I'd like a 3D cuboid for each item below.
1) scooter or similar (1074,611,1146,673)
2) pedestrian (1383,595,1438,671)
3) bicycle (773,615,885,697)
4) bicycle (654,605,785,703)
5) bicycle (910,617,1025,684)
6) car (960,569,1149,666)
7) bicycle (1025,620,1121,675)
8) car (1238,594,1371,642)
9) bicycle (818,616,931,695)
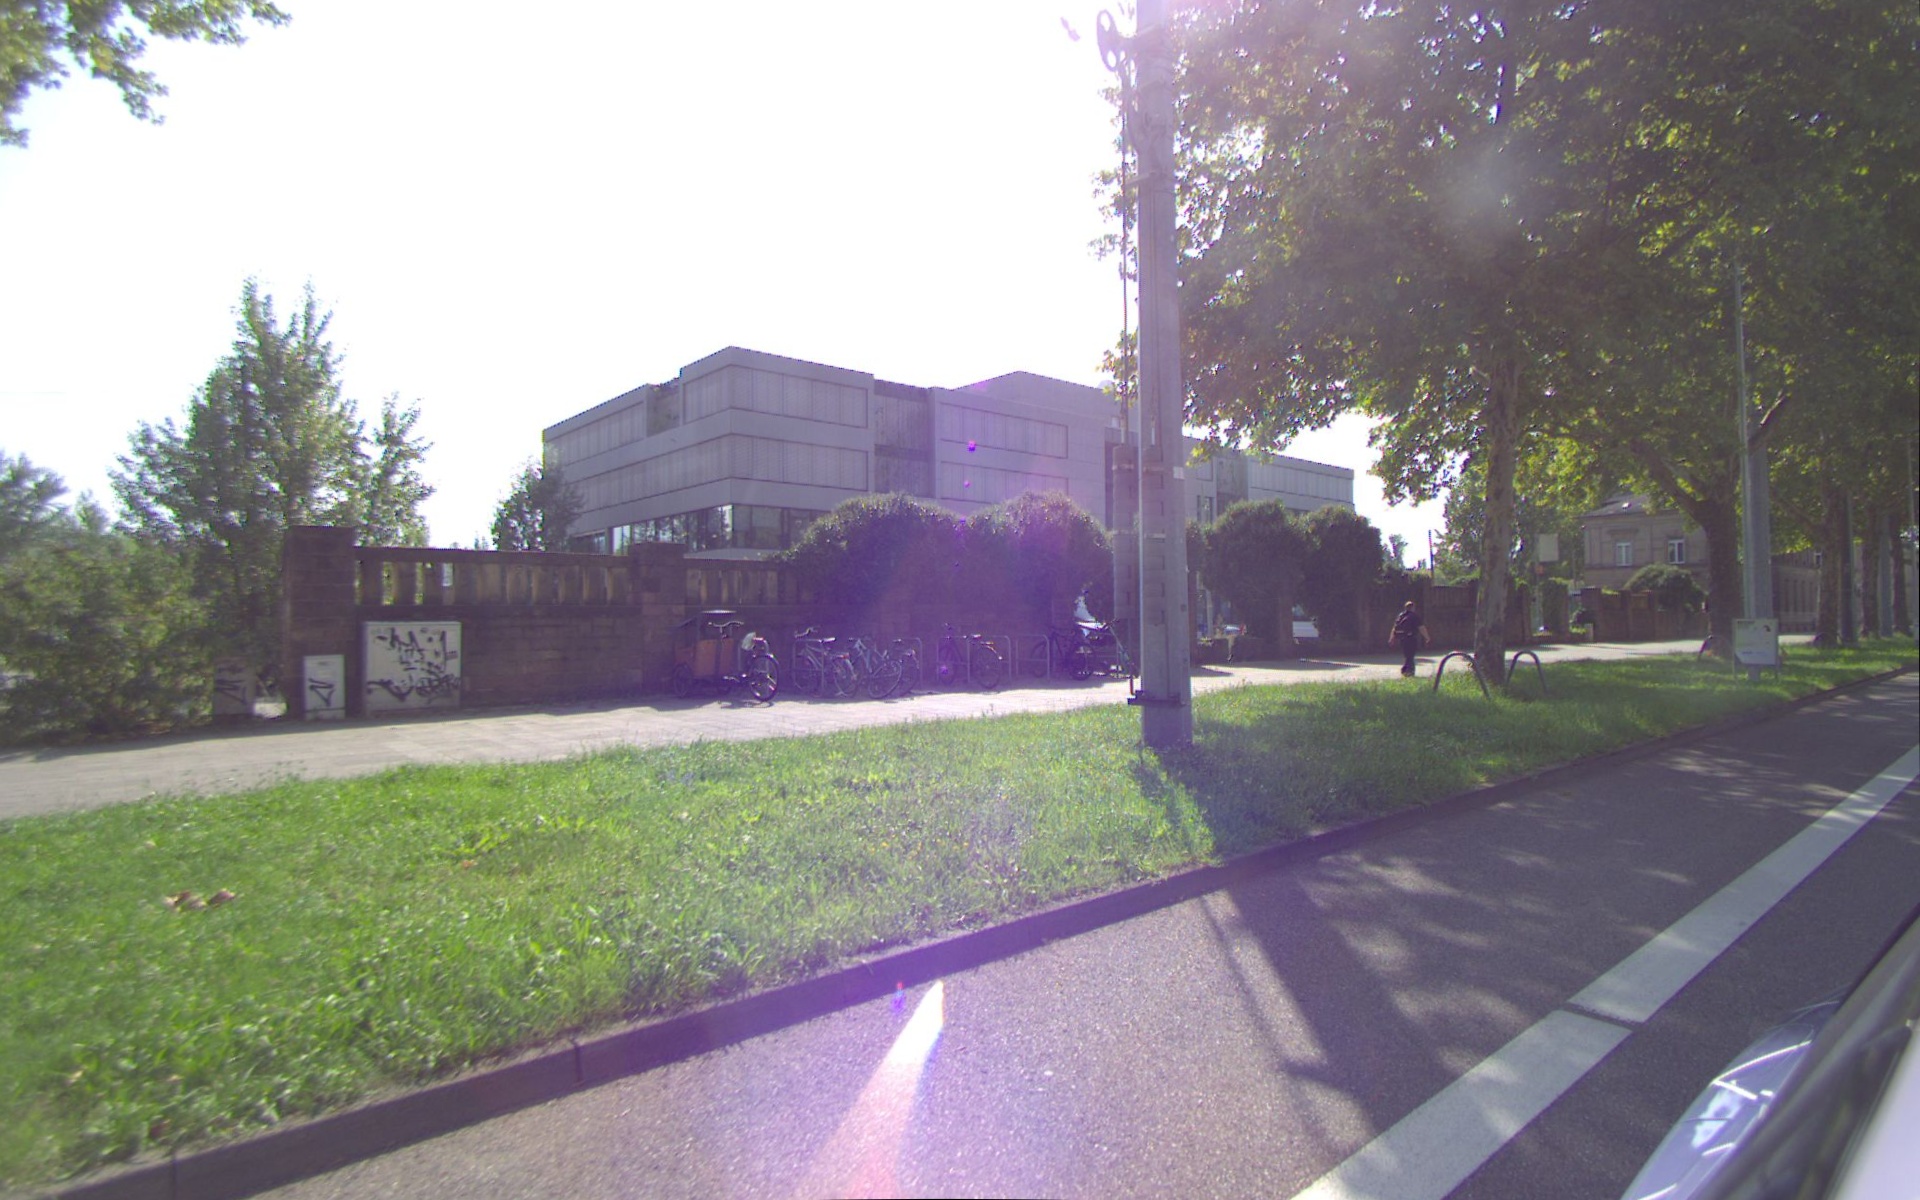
[{"bbox_3d":[3.057,0.838,20.725,0.528,1.206,1.510,1,0,-37],"label":"scooter or similar"},{"bbox_3d":[9.420,0.678,21.173,0.773,1.535,0.785,1,-2,-41],"label":"pedestrian"},{"bbox_3d":[-2.062,0.825,15.623,0.729,1.090,2.180,1,1,-37],"label":"bicycle"},{"bbox_3d":[-3.631,0.750,15.159,0.981,1.293,2.248,0,1,-41],"label":"bicycle"},{"bbox_3d":[0.096,0.851,17.676,0.730,1.090,2.176,1,-2,-42],"label":"bicycle"},{"bbox_3d":[2.550,0.504,28.633,2.210,2.466,5.386,1,-1,-39],"label":"car"},{"bbox_3d":[2.205,0.917,19.922,0.722,1.019,1.869,1,-2,-42],"label":"bicycle"},{"bbox_3d":[13.156,0.678,38.836,1.877,1.756,4.526,1,-1,-43],"label":"car"},{"bbox_3d":[-1.394,0.840,16.090,0.729,1.090,2.180,1,1,-37],"label":"bicycle"}]
